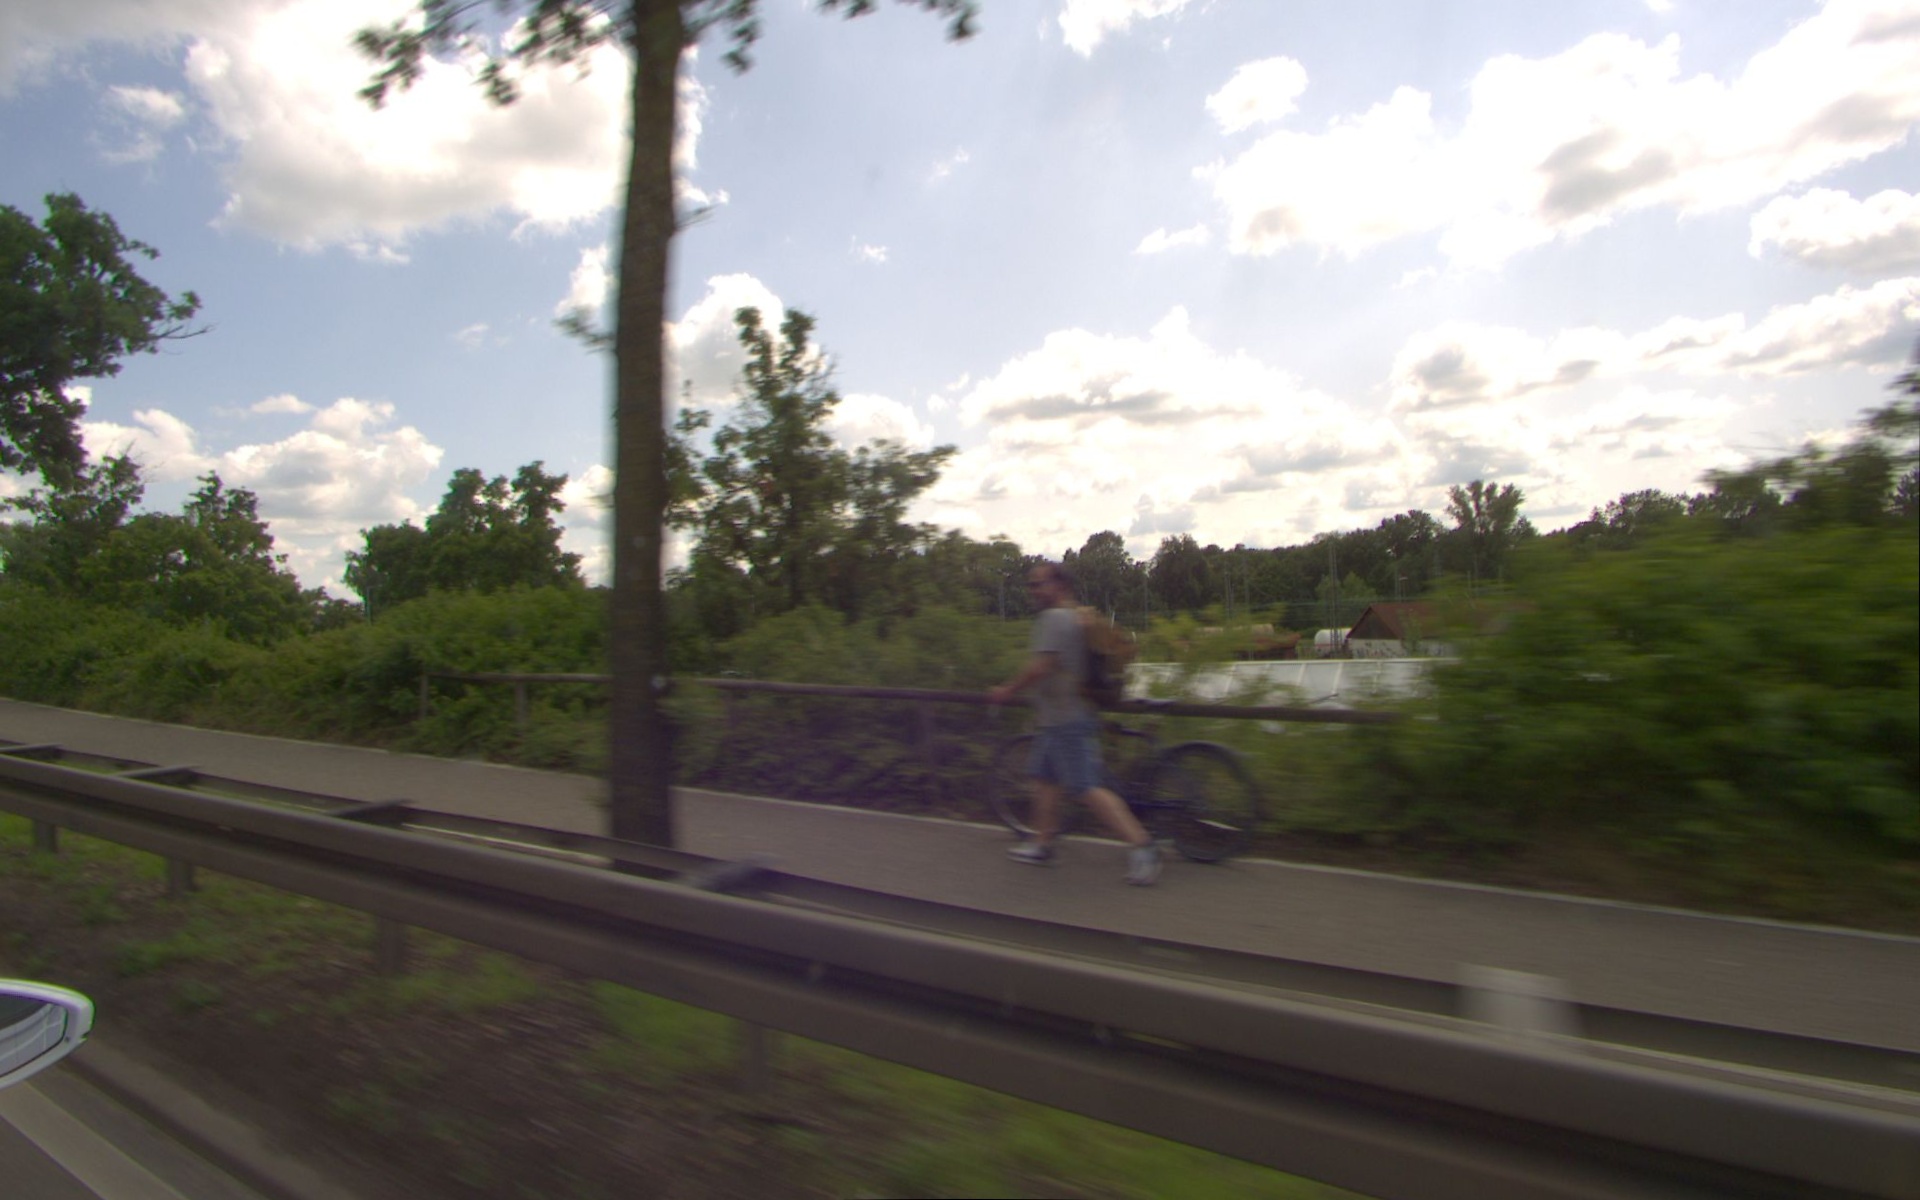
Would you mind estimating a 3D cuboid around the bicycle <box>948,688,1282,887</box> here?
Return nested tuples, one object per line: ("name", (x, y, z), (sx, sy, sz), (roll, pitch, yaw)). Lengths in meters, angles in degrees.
("bicycle", (0.841, 0.995, 5.689), (1.799, 0.881, 0.555), (-1, 1, 32))

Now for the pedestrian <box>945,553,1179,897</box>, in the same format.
("pedestrian", (0.551, 0.608, 5.387), (1.039, 1.664, 0.655), (-1, 2, 32))
